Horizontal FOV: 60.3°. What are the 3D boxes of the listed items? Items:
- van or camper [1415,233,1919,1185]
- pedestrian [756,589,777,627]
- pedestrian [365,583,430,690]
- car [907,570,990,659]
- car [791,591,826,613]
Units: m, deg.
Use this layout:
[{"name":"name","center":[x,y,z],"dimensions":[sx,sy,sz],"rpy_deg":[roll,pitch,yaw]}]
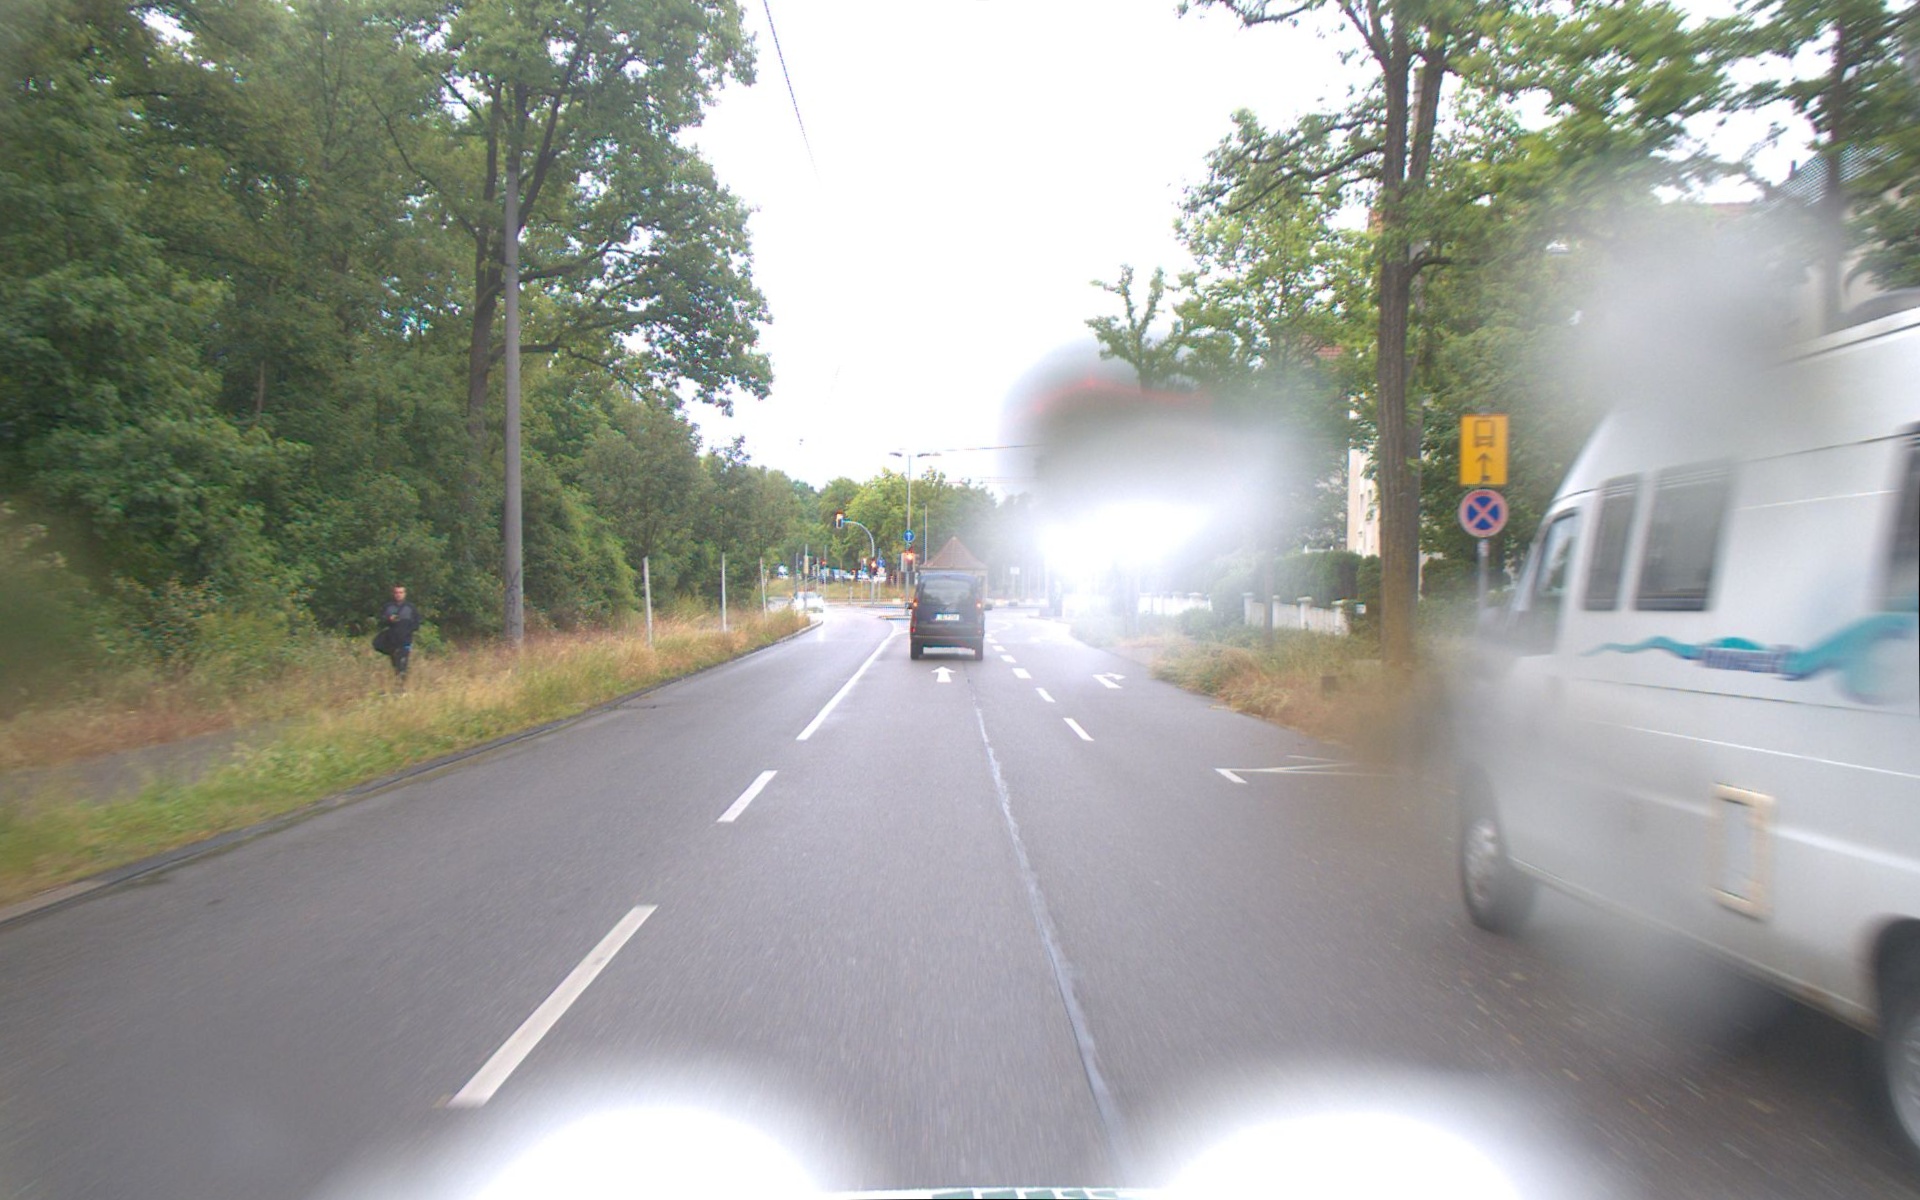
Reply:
[{"name":"van or camper","center":[3.525,0.309,6.002],"dimensions":[1.996,2.522,5.637],"rpy_deg":[3,0,-1]},{"name":"pedestrian","center":[-10.642,0.433,90.871],"dimensions":[1.066,2.049,0.999],"rpy_deg":[1,-1,-4]},{"name":"pedestrian","center":[-8.726,0.551,25.696],"dimensions":[0.765,1.636,0.732],"rpy_deg":[0,0,-2]},{"name":"car","center":[-0.277,0.294,36.920],"dimensions":[1.696,1.817,3.999],"rpy_deg":[2,0,-1]},{"name":"car","center":[-10.086,0.096,109.900],"dimensions":[1.957,1.334,4.350],"rpy_deg":[-2,1,-9]}]
